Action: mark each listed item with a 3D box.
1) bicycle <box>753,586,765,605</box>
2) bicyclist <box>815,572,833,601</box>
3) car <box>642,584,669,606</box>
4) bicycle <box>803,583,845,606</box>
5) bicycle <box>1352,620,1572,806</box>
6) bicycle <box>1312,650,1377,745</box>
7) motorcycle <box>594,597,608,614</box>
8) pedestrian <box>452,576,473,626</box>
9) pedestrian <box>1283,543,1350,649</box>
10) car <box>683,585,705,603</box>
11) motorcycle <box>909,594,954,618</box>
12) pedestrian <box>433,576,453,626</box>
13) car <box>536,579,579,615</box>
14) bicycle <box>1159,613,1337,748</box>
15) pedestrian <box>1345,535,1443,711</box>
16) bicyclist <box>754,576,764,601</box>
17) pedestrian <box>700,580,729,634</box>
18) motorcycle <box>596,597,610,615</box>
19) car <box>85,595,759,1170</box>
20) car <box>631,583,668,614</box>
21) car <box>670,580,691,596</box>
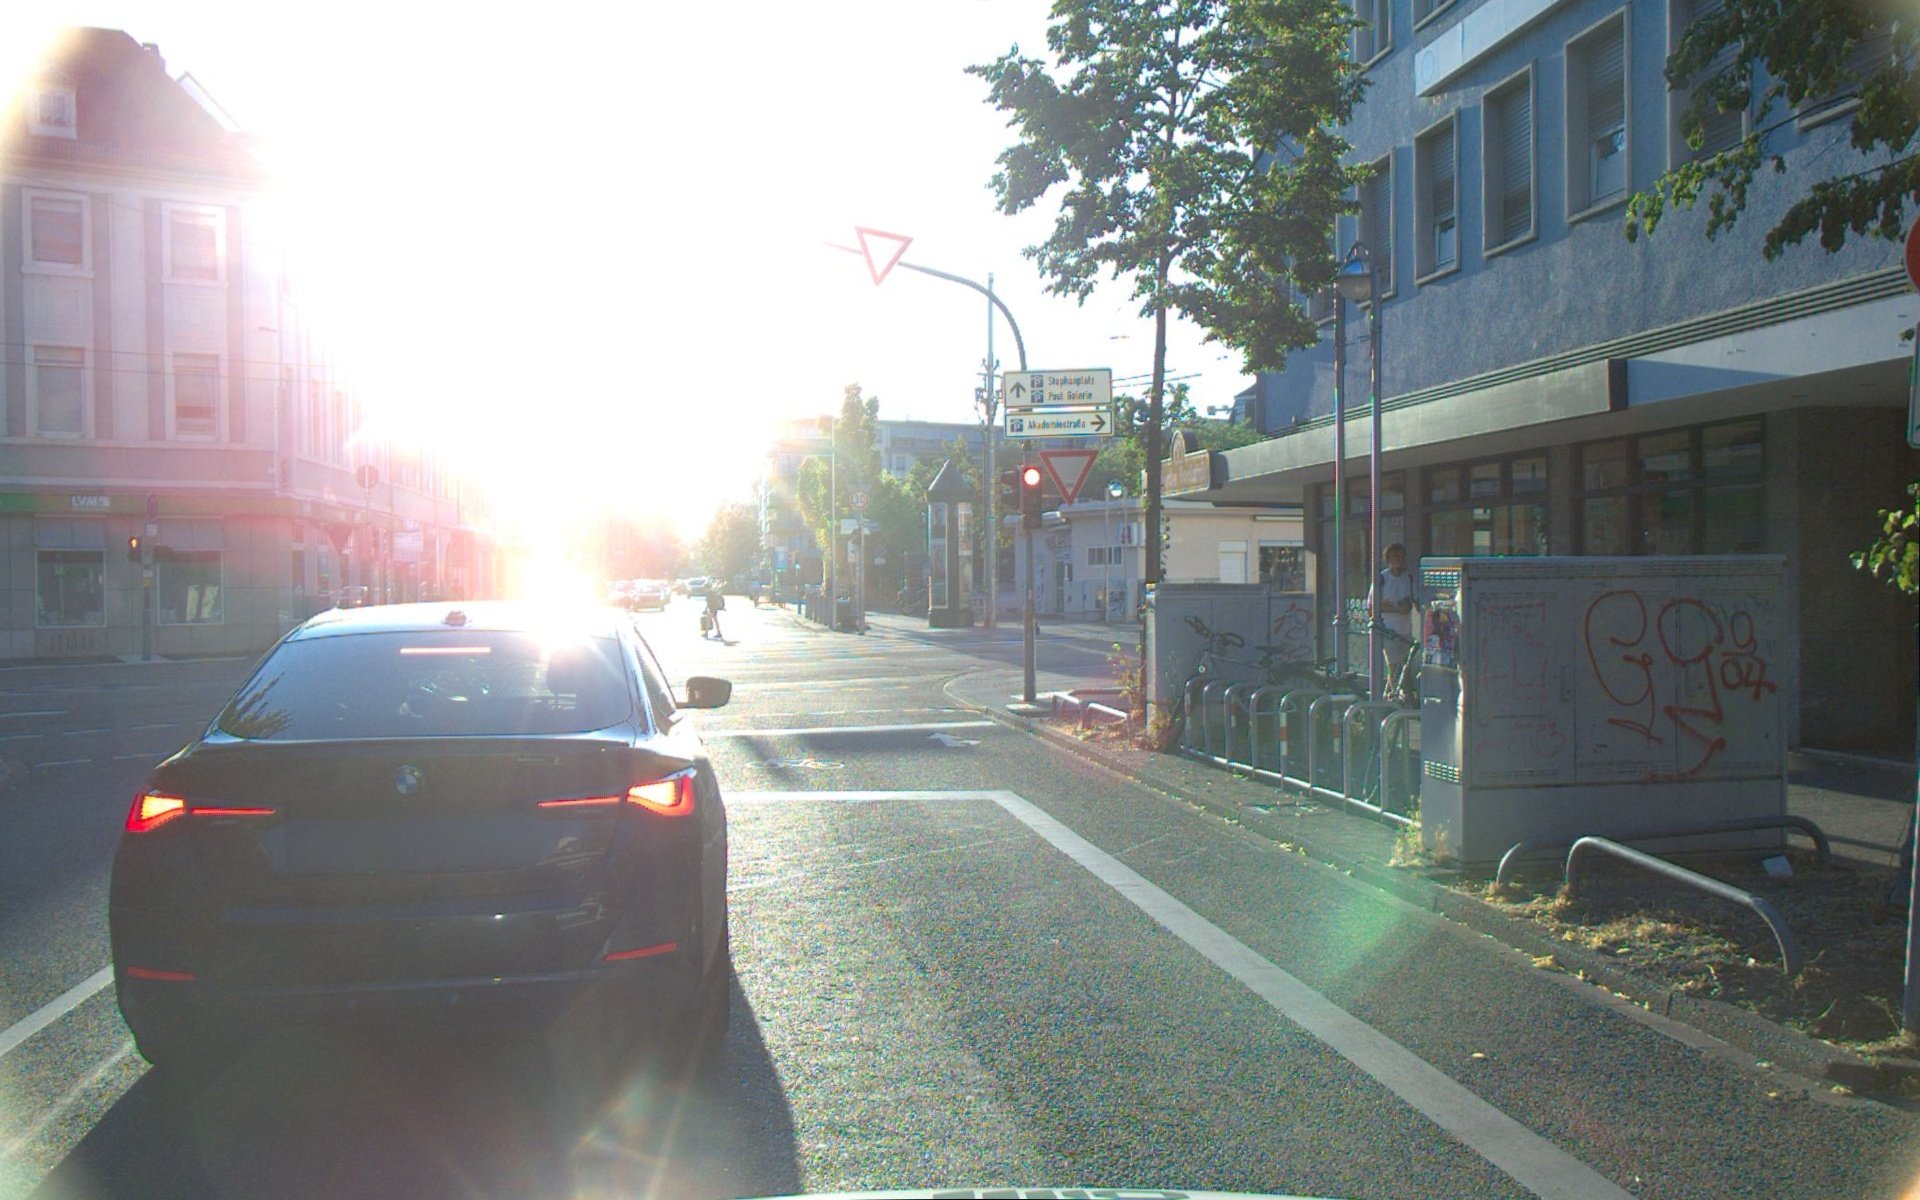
[{"bbox_3d":[-12.388,-0.273,101.866,0.540,1.179,2.137,1,0,-12],"label":"bicycle"},{"bbox_3d":[-7.274,-0.720,88.622,0.865,1.532,0.612,1,0,3],"label":"bicyclist"},{"bbox_3d":[-22.535,-0.383,122.622,1.784,1.545,3.992,-1,1,-9],"label":"car"},{"bbox_3d":[-7.264,-0.285,88.642,2.166,1.223,0.620,1,0,2],"label":"bicycle"},{"bbox_3d":[3.464,0.775,11.433,1.413,1.241,0.383,1,0,-8],"label":"bicycle"},{"bbox_3d":[3.574,0.894,15.425,0.244,0.810,1.114,1,0,-5],"label":"bicycle"},{"bbox_3d":[-19.724,0.308,90.891,0.564,0.931,2.196,1,0,-8],"label":"motorcycle"},{"bbox_3d":[-19.161,0.036,63.685,0.664,1.909,0.616,1,0,-9],"label":"pedestrian"},{"bbox_3d":[6.655,-0.086,30.905,0.990,1.892,0.634,-4,2,-29],"label":"pedestrian"},{"bbox_3d":[-23.129,-0.536,143.865,1.784,1.545,3.992,-1,1,-9],"label":"car"},{"bbox_3d":[-1.162,0.252,67.868,1.644,0.955,0.851,-1,1,-20],"label":"motorcycle"},{"bbox_3d":[-19.841,0.026,63.512,0.631,1.909,0.630,1,0,-9],"label":"pedestrian"},{"bbox_3d":[-21.103,-0.191,86.783,1.784,1.819,3.992,-1,1,-9],"label":"car"},{"bbox_3d":[2.646,0.726,15.191,1.582,1.191,0.318,-1,0,-7],"label":"bicycle"},{"bbox_3d":[4.740,0.244,18.092,0.820,1.874,0.677,-1,0,-9],"label":"pedestrian"},{"bbox_3d":[-12.400,-0.686,101.930,0.540,1.507,0.720,1,0,-13],"label":"bicyclist"},{"bbox_3d":[-7.123,0.203,47.912,0.723,1.555,0.469,1,0,-24],"label":"pedestrian"},{"bbox_3d":[-18.969,0.333,87.979,0.564,0.931,2.196,1,0,-8],"label":"motorcycle"},{"bbox_3d":[-1.747,0.720,6.462,1.705,1.453,4.214,0,0,-10],"label":"car"},{"bbox_3d":[-16.480,-0.091,87.974,1.784,1.545,3.992,-1,1,-9],"label":"car"},{"bbox_3d":[-29.893,-1.321,176.803,1.956,1.579,3.994,-2,1,-7],"label":"car"}]
